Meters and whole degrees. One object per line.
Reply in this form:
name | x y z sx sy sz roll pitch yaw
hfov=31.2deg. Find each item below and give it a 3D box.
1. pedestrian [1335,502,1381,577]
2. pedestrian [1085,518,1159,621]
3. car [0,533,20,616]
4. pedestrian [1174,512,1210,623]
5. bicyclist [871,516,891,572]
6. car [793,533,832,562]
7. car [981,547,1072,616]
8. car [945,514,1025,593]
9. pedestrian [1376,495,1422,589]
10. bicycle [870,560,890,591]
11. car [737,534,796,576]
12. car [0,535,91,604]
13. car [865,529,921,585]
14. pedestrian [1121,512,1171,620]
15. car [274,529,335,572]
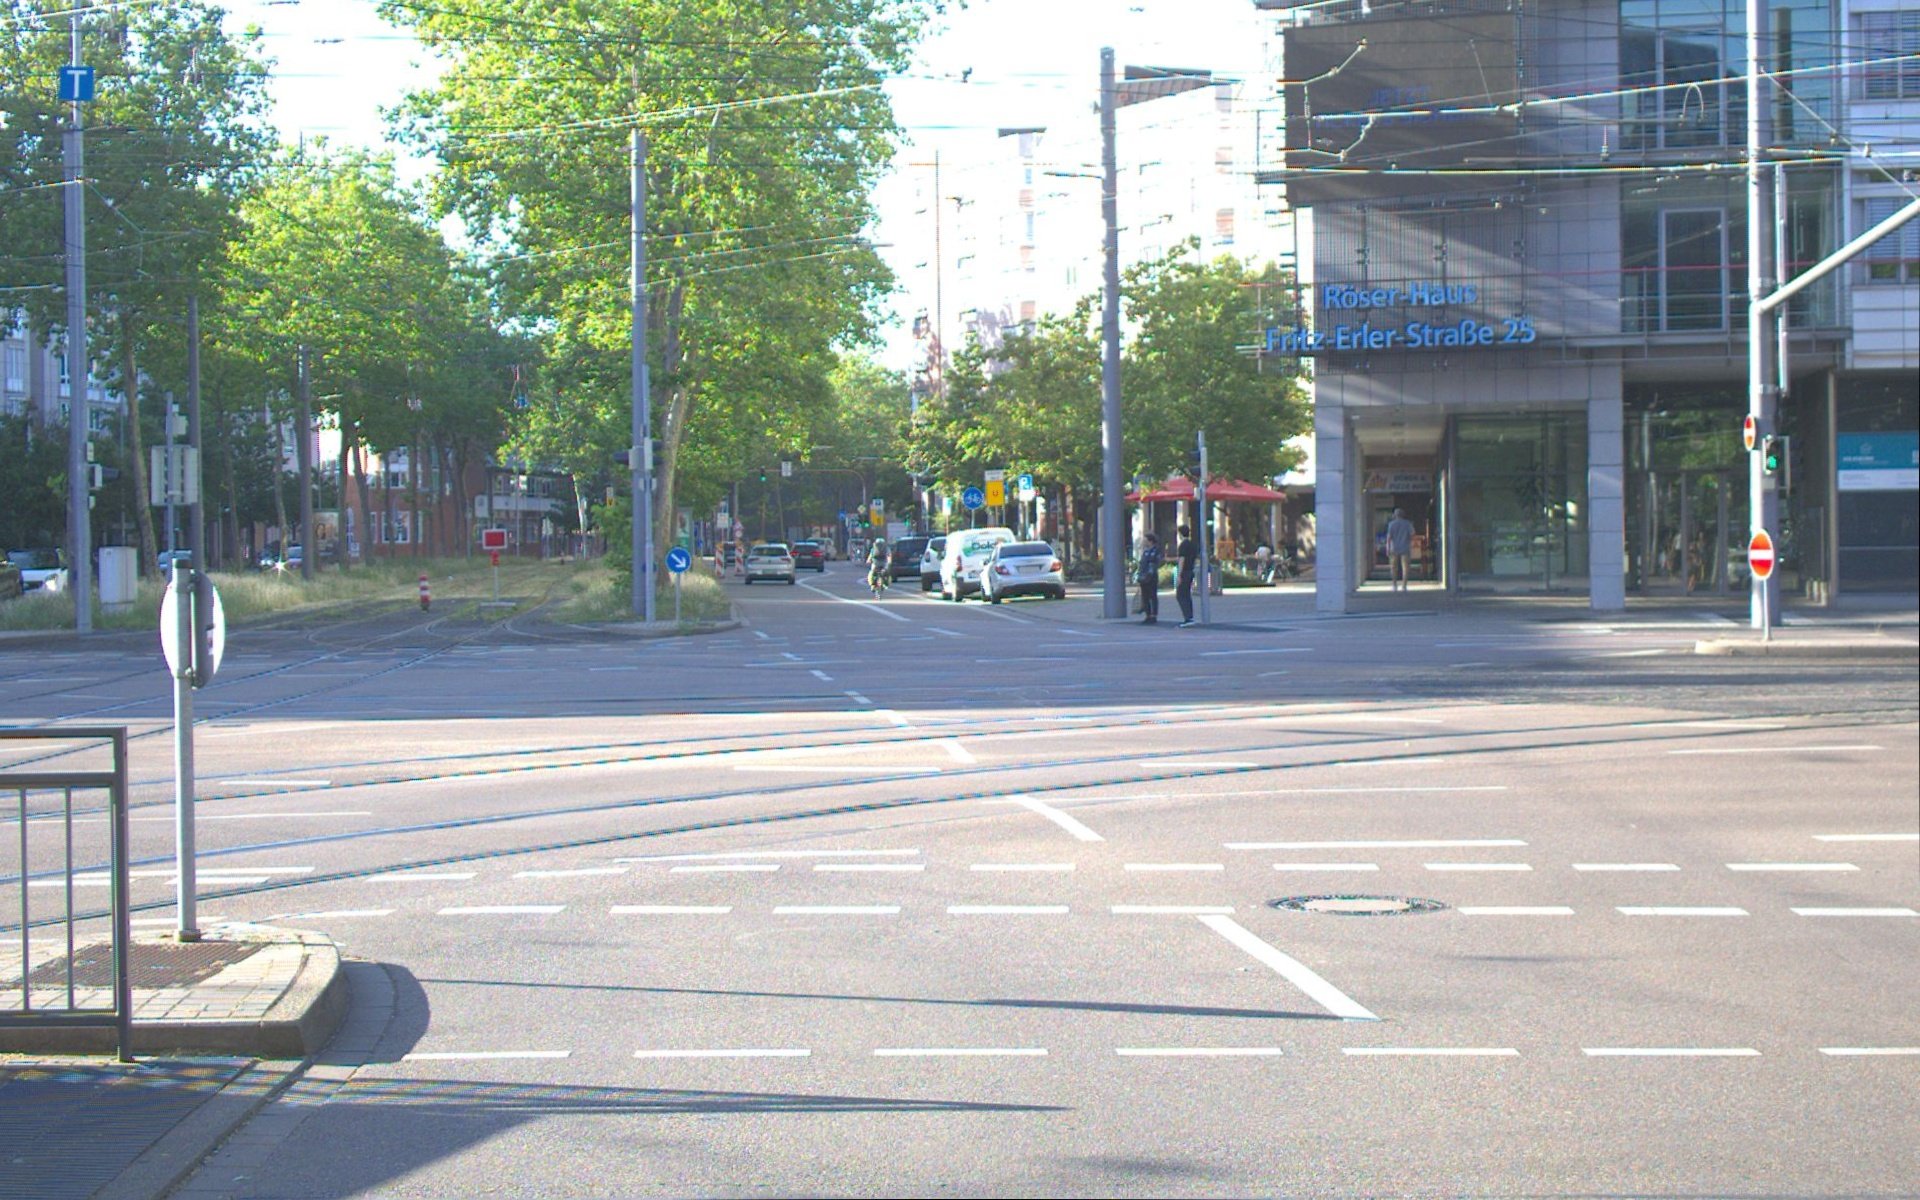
pedestrian | 11.745 -1.782 101.540 1.313 2.182 1.170 1 0 6
pedestrian | 3.115 -0.590 66.256 1.342 1.944 1.011 -1 0 -1
car | -21.766 -0.544 74.953 1.822 1.784 4.001 -1 1 -7
pedestrian | 4.232 -0.595 62.812 0.586 2.007 0.620 1 0 0
bicyclist | -2.032 -1.442 88.374 0.486 1.434 0.615 1 0 -1
car | -7.130 -2.526 165.686 1.763 1.399 4.297 0 1 -4
car | 1.573 -0.459 82.715 2.029 1.590 4.000 1 1 -1
car | 0.626 -1.205 89.566 1.993 2.007 4.000 1 1 -1
pedestrian | 9.529 -1.250 74.637 0.869 2.007 0.794 1 -1 -1
bicycle | -2.050 -0.631 88.452 0.490 0.785 1.862 0 1 -1
car | -6.787 -1.591 120.665 1.748 1.413 4.000 0 2 1
car | -22.058 -0.747 82.752 1.676 1.601 4.001 1 1 -6
car | -2.446 -1.579 126.761 1.993 2.007 4.000 1 1 -1
pedestrian | 3.471 -0.632 64.280 0.849 2.007 0.708 1 0 -2
car | -27.822 -2.109 145.935 1.844 1.777 4.000 -1 1 -1
